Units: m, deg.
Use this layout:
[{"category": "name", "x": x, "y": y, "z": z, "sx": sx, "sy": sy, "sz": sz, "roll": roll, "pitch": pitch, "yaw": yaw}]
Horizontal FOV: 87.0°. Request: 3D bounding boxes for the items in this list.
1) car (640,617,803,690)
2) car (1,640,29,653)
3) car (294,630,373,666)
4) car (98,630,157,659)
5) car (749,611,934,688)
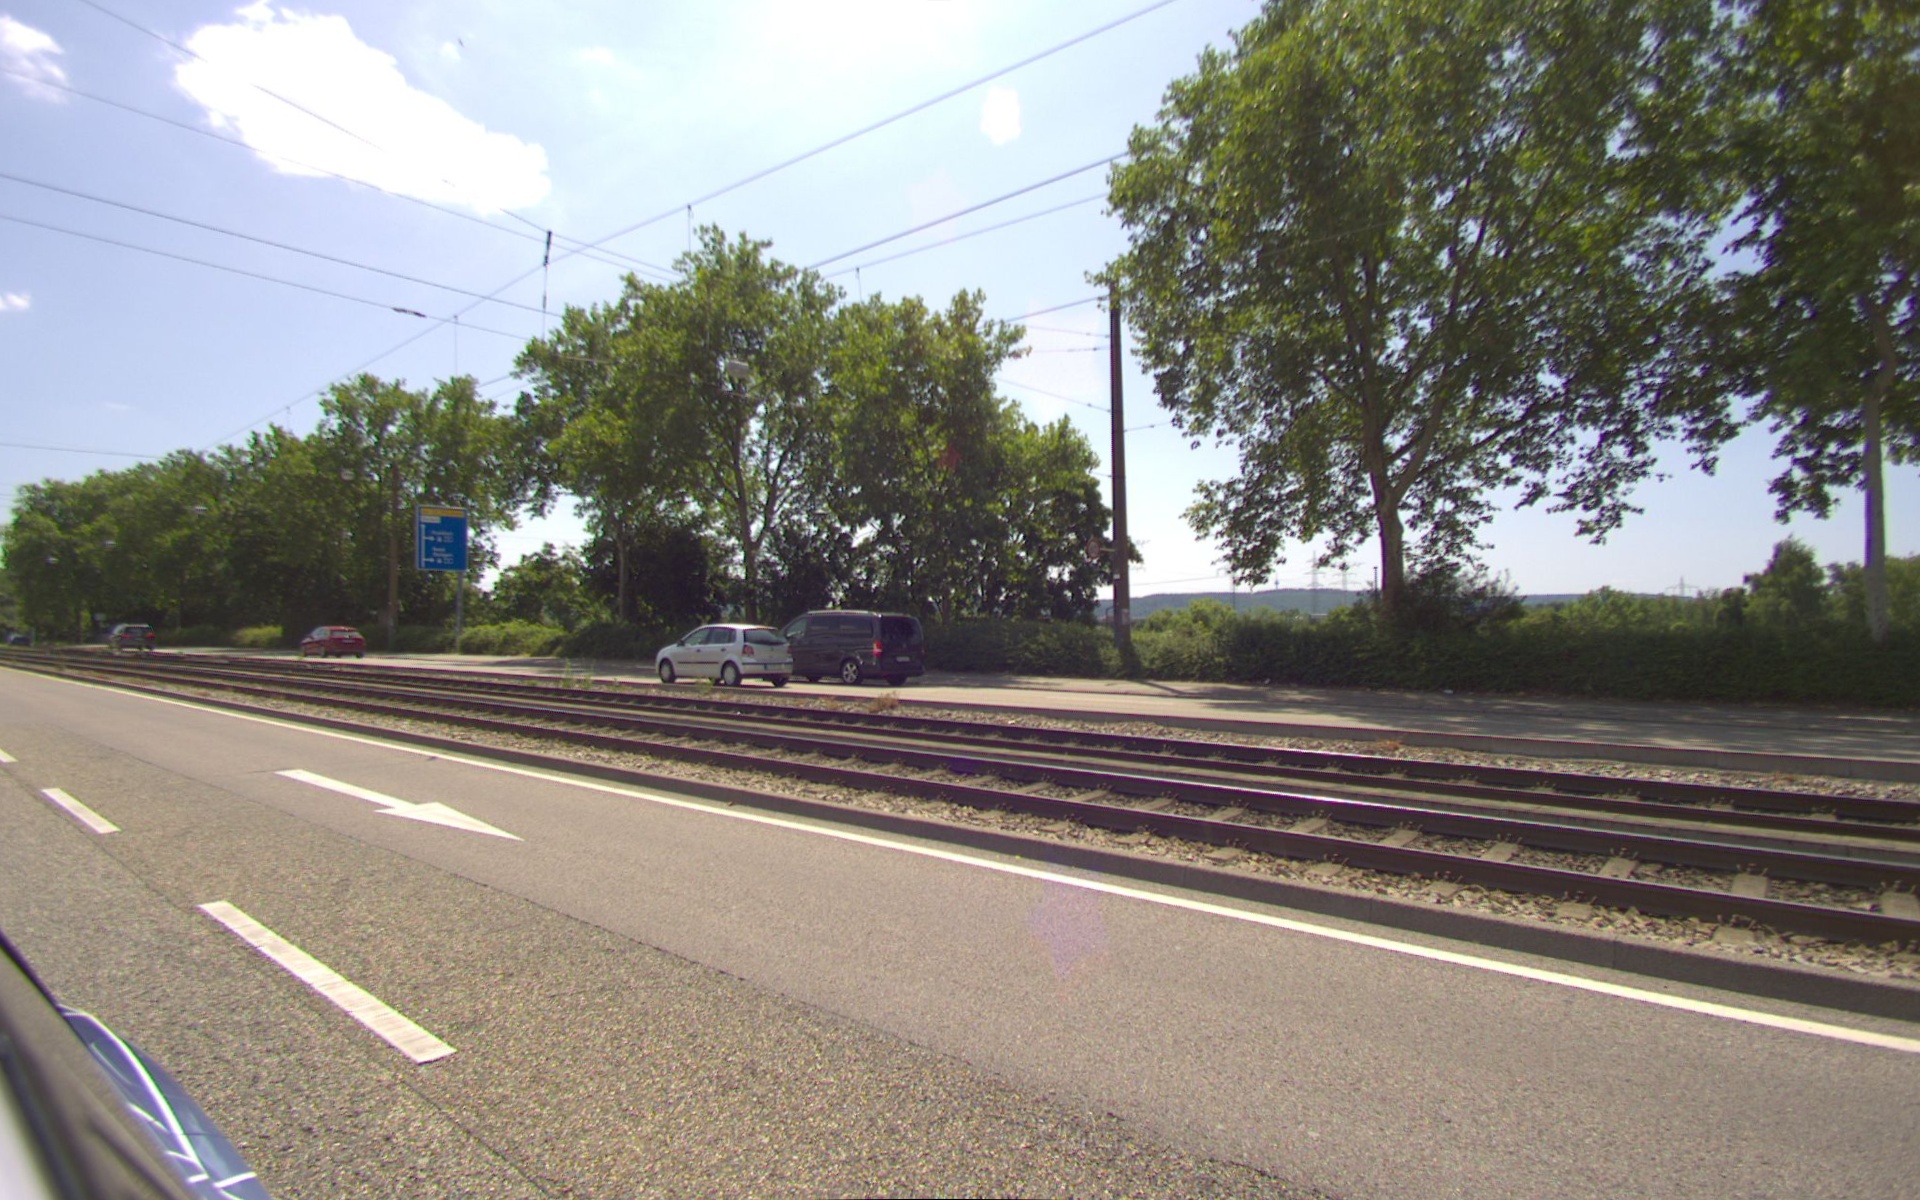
[{"category": "car", "x": -5.744, "y": 1.276, "z": 24.173, "sx": 4.055, "sy": 1.596, "sz": 1.668, "roll": -2, "pitch": -5, "yaw": 40}, {"category": "car", "x": -112.160, "y": 5.474, "z": 120.131, "sx": 4.731, "sy": 1.515, "sz": 1.780, "roll": -2, "pitch": -4, "yaw": 40}, {"category": "car", "x": -30.870, "y": 2.349, "z": 49.839, "sx": 4.464, "sy": 1.683, "sz": 1.973, "roll": -2, "pitch": -4, "yaw": 40}, {"category": "car", "x": -54.403, "y": 2.920, "z": 66.111, "sx": 4.965, "sy": 1.845, "sz": 1.973, "roll": -2, "pitch": -4, "yaw": 40}, {"category": "car", "x": -3.208, "y": 1.300, "z": 26.698, "sx": 4.965, "sy": 1.845, "sz": 1.973, "roll": -2, "pitch": -4, "yaw": 40}]
